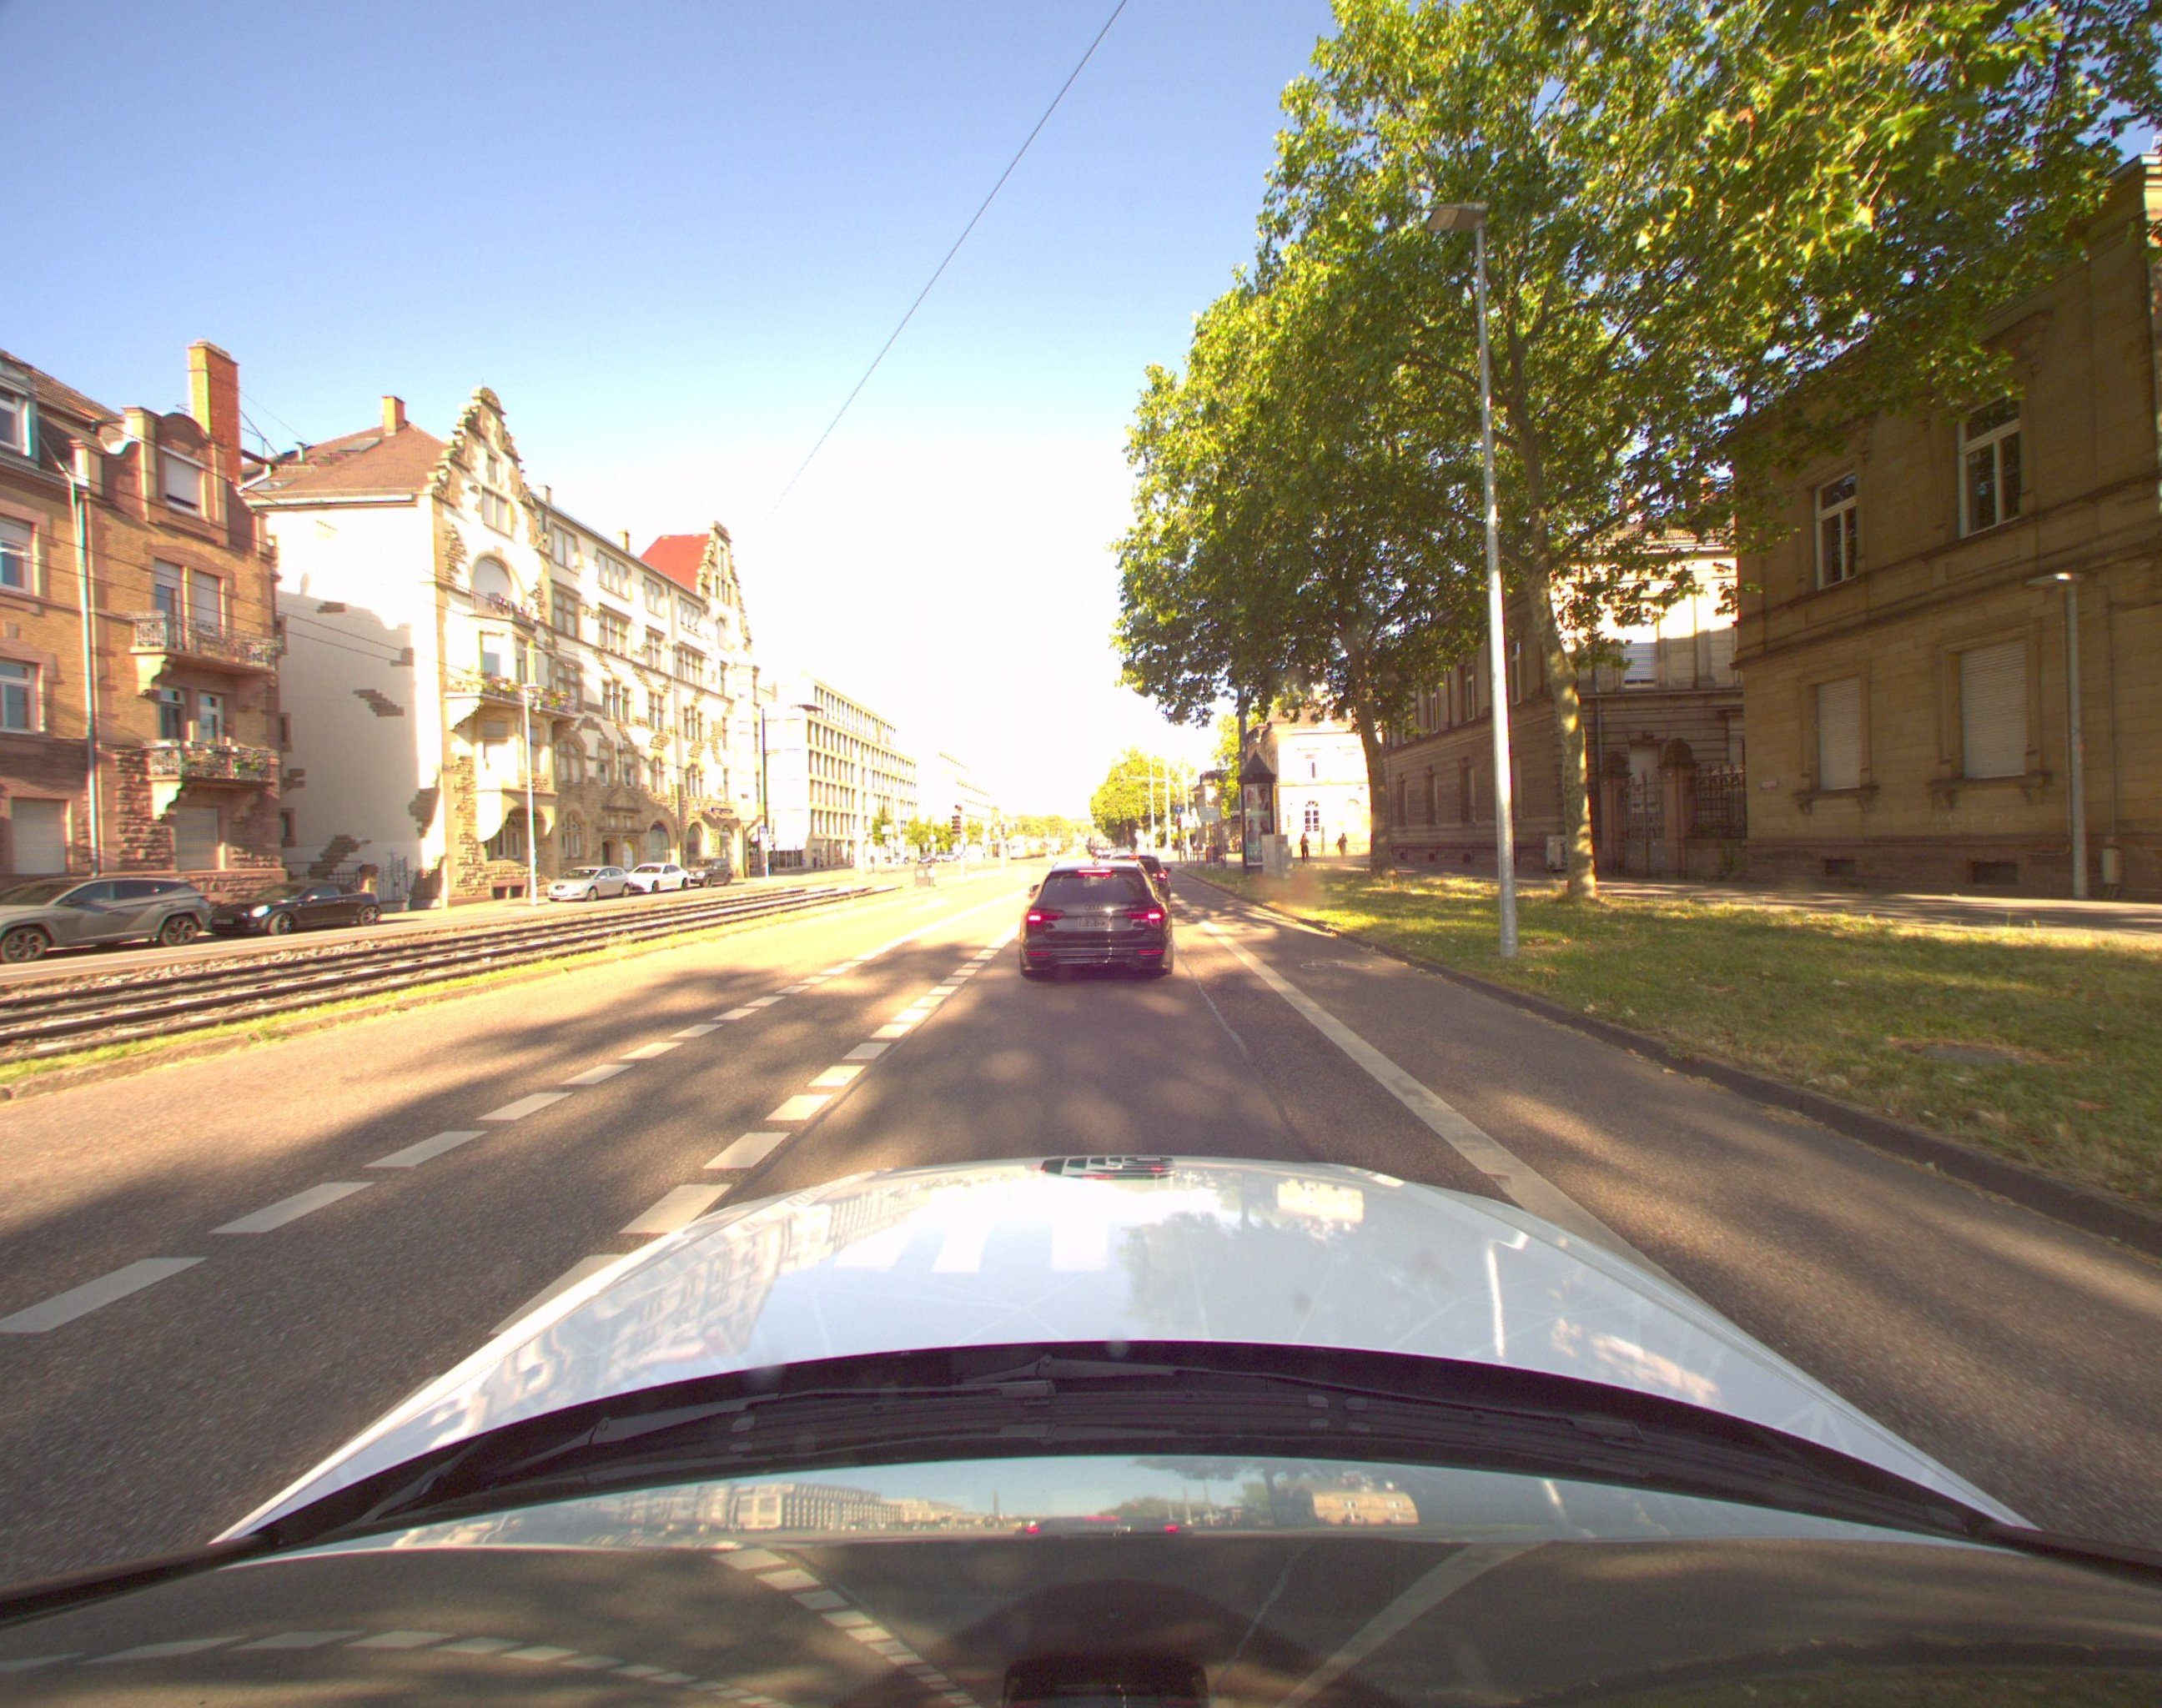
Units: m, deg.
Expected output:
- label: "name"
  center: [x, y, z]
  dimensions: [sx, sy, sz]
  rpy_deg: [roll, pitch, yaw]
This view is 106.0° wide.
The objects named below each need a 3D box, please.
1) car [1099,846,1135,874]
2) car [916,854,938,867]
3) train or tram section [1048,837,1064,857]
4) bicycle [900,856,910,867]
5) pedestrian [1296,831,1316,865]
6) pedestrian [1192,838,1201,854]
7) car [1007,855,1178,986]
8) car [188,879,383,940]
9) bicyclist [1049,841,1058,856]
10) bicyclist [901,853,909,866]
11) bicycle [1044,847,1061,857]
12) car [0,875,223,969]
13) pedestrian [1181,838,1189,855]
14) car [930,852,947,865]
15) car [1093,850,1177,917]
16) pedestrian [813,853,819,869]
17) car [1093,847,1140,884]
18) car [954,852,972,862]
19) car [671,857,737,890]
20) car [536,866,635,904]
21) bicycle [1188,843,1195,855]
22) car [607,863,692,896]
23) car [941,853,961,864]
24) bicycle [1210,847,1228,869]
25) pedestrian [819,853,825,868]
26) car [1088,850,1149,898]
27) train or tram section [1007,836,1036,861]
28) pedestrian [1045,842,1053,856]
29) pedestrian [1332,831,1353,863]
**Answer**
- label: "car"
  center: [2.035, 0.299, 45.996]
  dimensions: [1.895, 1.486, 4.147]
  rpy_deg: [-1, 0, 2]
- label: "car"
  center: [-18.997, 0.744, 100.471]
  dimensions: [1.814, 1.457, 4.165]
  rpy_deg: [-3, 0, 0]
- label: "train or tram section"
  center: [-4.669, -1.318, 154.485]
  dimensions: [2.600, 3.450, 11.132]
  rpy_deg: [-2, 1, 0]
- label: "bicycle"
  center: [-22.520, 0.943, 104.015]
  dimensions: [0.682, 1.381, 1.948]
  rpy_deg: [-3, 0, 3]
- label: "pedestrian"
  center: [11.795, -0.325, 42.735]
  dimensions: [0.766, 1.709, 1.043]
  rpy_deg: [-3, 0, 3]
- label: "pedestrian"
  center: [14.364, -1.000, 101.215]
  dimensions: [0.975, 1.865, 0.827]
  rpy_deg: [-2, 0, 1]
- label: "car"
  center: [0.213, 0.752, 11.194]
  dimensions: [1.895, 1.421, 4.147]
  rpy_deg: [-1, 0, 2]
- label: "car"
  center: [-21.557, 1.455, 22.304]
  dimensions: [1.616, 1.354, 3.727]
  rpy_deg: [1, 1, 1]
- label: "bicyclist"
  center: [-3.484, -0.734, 101.652]
  dimensions: [0.762, 1.818, 0.756]
  rpy_deg: [-3, 1, -34]
- label: "bicyclist"
  center: [-22.464, 0.683, 103.994]
  dimensions: [0.682, 1.562, 0.786]
  rpy_deg: [-3, 0, 3]
- label: "bicycle"
  center: [-3.532, -0.250, 101.625]
  dimensions: [2.020, 1.108, 0.756]
  rpy_deg: [-3, 1, -34]
- label: "car"
  center: [-21.774, 1.368, 17.492]
  dimensions: [1.849, 1.622, 4.504]
  rpy_deg: [1, 1, 1]
- label: "pedestrian"
  center: [10.408, -0.710, 81.438]
  dimensions: [0.680, 1.660, 0.758]
  rpy_deg: [-2, 0, 0]
- label: "car"
  center: [-22.550, 0.678, 128.664]
  dimensions: [1.835, 1.812, 4.114]
  rpy_deg: [-2, 0, 1]
- label: "car"
  center: [1.314, 0.667, 20.656]
  dimensions: [1.895, 1.486, 4.147]
  rpy_deg: [-1, 0, 2]
- label: "pedestrian"
  center: [-31.750, 0.846, 97.482]
  dimensions: [0.475, 1.843, 0.438]
  rpy_deg: [-3, 0, -36]
- label: "car"
  center: [1.551, 0.459, 35.606]
  dimensions: [1.895, 1.486, 4.147]
  rpy_deg: [-1, 0, 2]
- label: "car"
  center: [-18.146, 0.438, 125.321]
  dimensions: [1.812, 1.457, 4.161]
  rpy_deg: [-3, 0, 4]
- label: "car"
  center: [-21.193, 1.066, 45.953]
  dimensions: [1.711, 1.675, 4.217]
  rpy_deg: [0, 1, 0]
- label: "car"
  center: [-21.175, 1.297, 35.020]
  dimensions: [1.704, 1.430, 4.222]
  rpy_deg: [0, 1, -1]
- label: "bicycle"
  center: [11.039, -0.501, 81.461]
  dimensions: [0.433, 1.145, 1.340]
  rpy_deg: [-2, 1, 0]
- label: "car"
  center: [-21.319, 1.224, 40.430]
  dimensions: [1.711, 1.423, 4.656]
  rpy_deg: [0, 1, 0]
- label: "car"
  center: [-18.531, 0.608, 116.342]
  dimensions: [1.812, 1.457, 4.545]
  rpy_deg: [-3, 0, 4]
- label: "bicycle"
  center: [7.175, 0.194, 42.298]
  dimensions: [0.538, 1.061, 1.770]
  rpy_deg: [-2, 0, -2]
- label: "pedestrian"
  center: [-31.047, 0.800, 97.601]
  dimensions: [0.535, 1.843, 0.438]
  rpy_deg: [-3, 0, -36]
- label: "car"
  center: [1.286, 0.616, 27.838]
  dimensions: [1.895, 1.486, 4.147]
  rpy_deg: [-1, 0, 2]
- label: "train or tram section"
  center: [-8.879, -0.830, 122.807]
  dimensions: [2.802, 3.489, 13.210]
  rpy_deg: [-2, 1, 2]
- label: "pedestrian"
  center: [-4.039, -0.581, 103.191]
  dimensions: [0.744, 1.741, 0.657]
  rpy_deg: [-2, 0, -27]
- label: "pedestrian"
  center: [13.647, -0.363, 42.523]
  dimensions: [0.766, 1.606, 0.987]
  rpy_deg: [-3, 0, 3]
